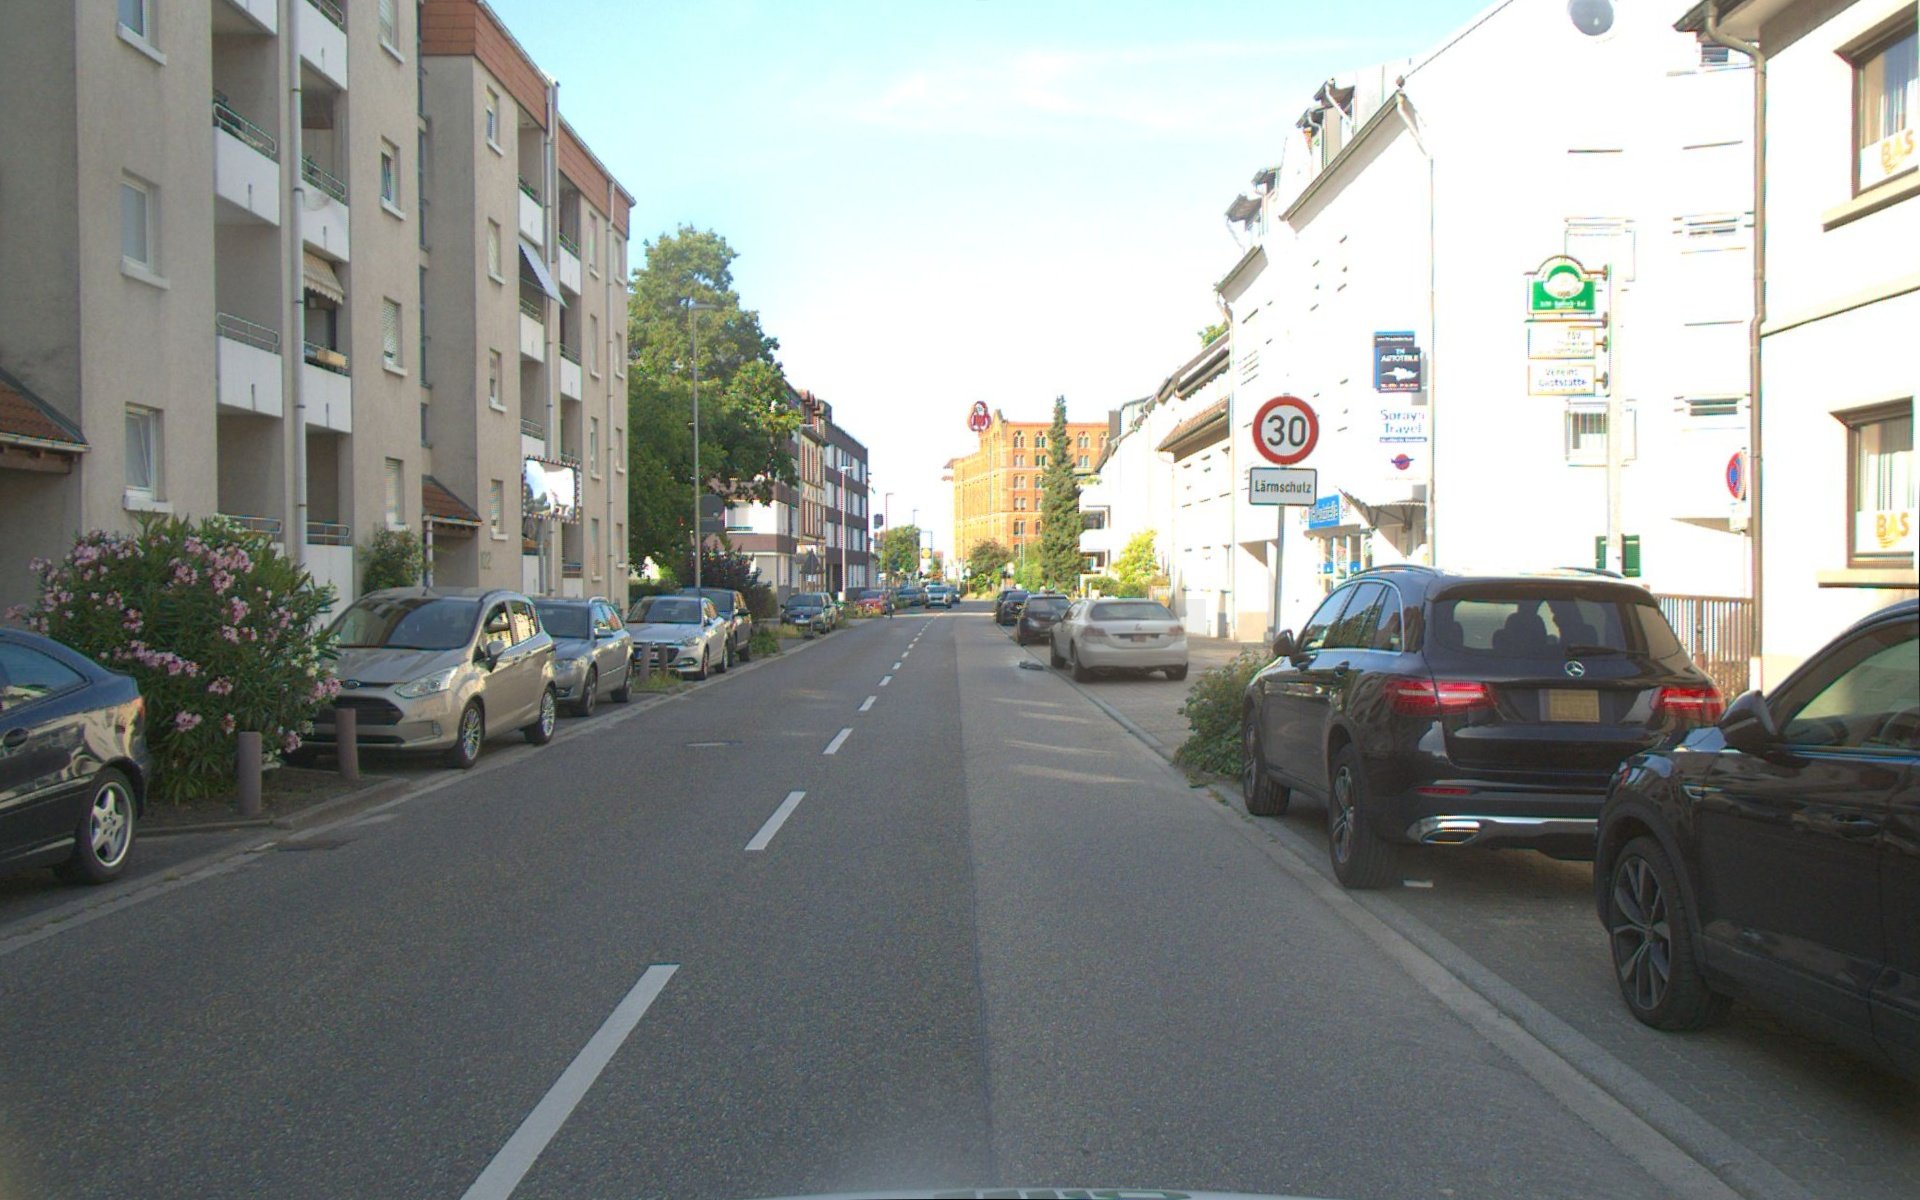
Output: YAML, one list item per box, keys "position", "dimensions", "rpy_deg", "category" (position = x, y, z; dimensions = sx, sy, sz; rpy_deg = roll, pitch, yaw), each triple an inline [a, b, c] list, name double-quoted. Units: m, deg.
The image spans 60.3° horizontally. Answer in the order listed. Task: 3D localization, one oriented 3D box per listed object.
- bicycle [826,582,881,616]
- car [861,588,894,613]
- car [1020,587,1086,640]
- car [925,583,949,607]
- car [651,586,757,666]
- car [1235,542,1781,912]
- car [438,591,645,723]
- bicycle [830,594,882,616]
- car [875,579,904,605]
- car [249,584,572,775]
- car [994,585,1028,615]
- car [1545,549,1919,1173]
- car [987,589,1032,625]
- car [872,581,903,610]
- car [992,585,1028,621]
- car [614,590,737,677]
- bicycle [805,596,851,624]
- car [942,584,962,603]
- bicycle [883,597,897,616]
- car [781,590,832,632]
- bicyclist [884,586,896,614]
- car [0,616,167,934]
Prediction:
- position: [-5.714, -0.043, 89.215]
  dimensions: [2.858, 1.808, 1.202]
  rpy_deg: [-1, 0, 1]
  category: "bicycle"
- position: [-4.901, 0.019, 98.864]
  dimensions: [1.802, 1.489, 3.585]
  rpy_deg: [0, 0, 0]
  category: "car"
- position: [2.751, 0.370, 49.626]
  dimensions: [1.792, 1.508, 3.943]
  rpy_deg: [-1, 1, 1]
  category: "car"
- position: [-1.696, -0.379, 121.799]
  dimensions: [1.727, 1.644, 4.000]
  rpy_deg: [-1, 0, 0]
  category: "car"
- position: [-5.490, 0.511, 35.930]
  dimensions: [1.651, 1.631, 4.369]
  rpy_deg: [0, 0, -1]
  category: "car"
- position: [2.868, 0.560, 9.771]
  dimensions: [1.792, 1.658, 4.464]
  rpy_deg: [-1, 0, 1]
  category: "car"
- position: [-5.442, 0.674, 22.069]
  dimensions: [1.771, 1.547, 4.369]
  rpy_deg: [0, 1, -2]
  category: "car"
- position: [-5.709, 0.251, 90.988]
  dimensions: [2.716, 1.164, 1.143]
  rpy_deg: [-1, 0, 1]
  category: "bicycle"
- position: [-5.331, -0.605, 125.733]
  dimensions: [1.952, 1.914, 4.000]
  rpy_deg: [0, 0, 0]
  category: "car"
- position: [-5.073, 0.647, 15.858]
  dimensions: [1.691, 1.582, 3.966]
  rpy_deg: [0, 1, 1]
  category: "car"
- position: [2.792, -0.020, 91.104]
  dimensions: [1.727, 1.552, 4.000]
  rpy_deg: [-1, 0, 0]
  category: "car"
- position: [3.317, 0.644, 4.543]
  dimensions: [1.793, 1.587, 4.316]
  rpy_deg: [-1, 0, -1]
  category: "car"
- position: [2.194, 0.273, 73.608]
  dimensions: [1.821, 1.497, 4.000]
  rpy_deg: [1, 0, -1]
  category: "car"
- position: [-5.025, -0.341, 114.825]
  dimensions: [1.952, 1.945, 3.689]
  rpy_deg: [-1, 0, 1]
  category: "car"
- position: [2.386, 0.121, 79.037]
  dimensions: [1.569, 1.674, 3.685]
  rpy_deg: [1, 0, 0]
  category: "car"
- position: [-5.200, 0.570, 30.681]
  dimensions: [1.652, 1.480, 4.140]
  rpy_deg: [0, 1, -1]
  category: "car"
- position: [-5.785, 0.435, 72.380]
  dimensions: [1.962, 1.238, 0.707]
  rpy_deg: [0, 0, -6]
  category: "bicycle"
- position: [-0.736, -0.597, 149.394]
  dimensions: [1.727, 1.644, 4.000]
  rpy_deg: [-1, 0, 0]
  category: "car"
- position: [-3.727, 0.354, 87.816]
  dimensions: [0.596, 0.959, 1.811]
  rpy_deg: [-1, 0, 1]
  category: "bicycle"
- position: [-5.571, 0.378, 60.444]
  dimensions: [1.541, 1.445, 3.803]
  rpy_deg: [0, 1, -1]
  category: "car"
- position: [-3.733, 0.005, 87.819]
  dimensions: [0.578, 1.467, 0.750]
  rpy_deg: [-1, 0, 0]
  category: "bicyclist"
- position: [-5.256, 0.827, 7.248]
  dimensions: [1.652, 1.430, 4.083]
  rpy_deg: [0, 1, -1]
  category: "car"
